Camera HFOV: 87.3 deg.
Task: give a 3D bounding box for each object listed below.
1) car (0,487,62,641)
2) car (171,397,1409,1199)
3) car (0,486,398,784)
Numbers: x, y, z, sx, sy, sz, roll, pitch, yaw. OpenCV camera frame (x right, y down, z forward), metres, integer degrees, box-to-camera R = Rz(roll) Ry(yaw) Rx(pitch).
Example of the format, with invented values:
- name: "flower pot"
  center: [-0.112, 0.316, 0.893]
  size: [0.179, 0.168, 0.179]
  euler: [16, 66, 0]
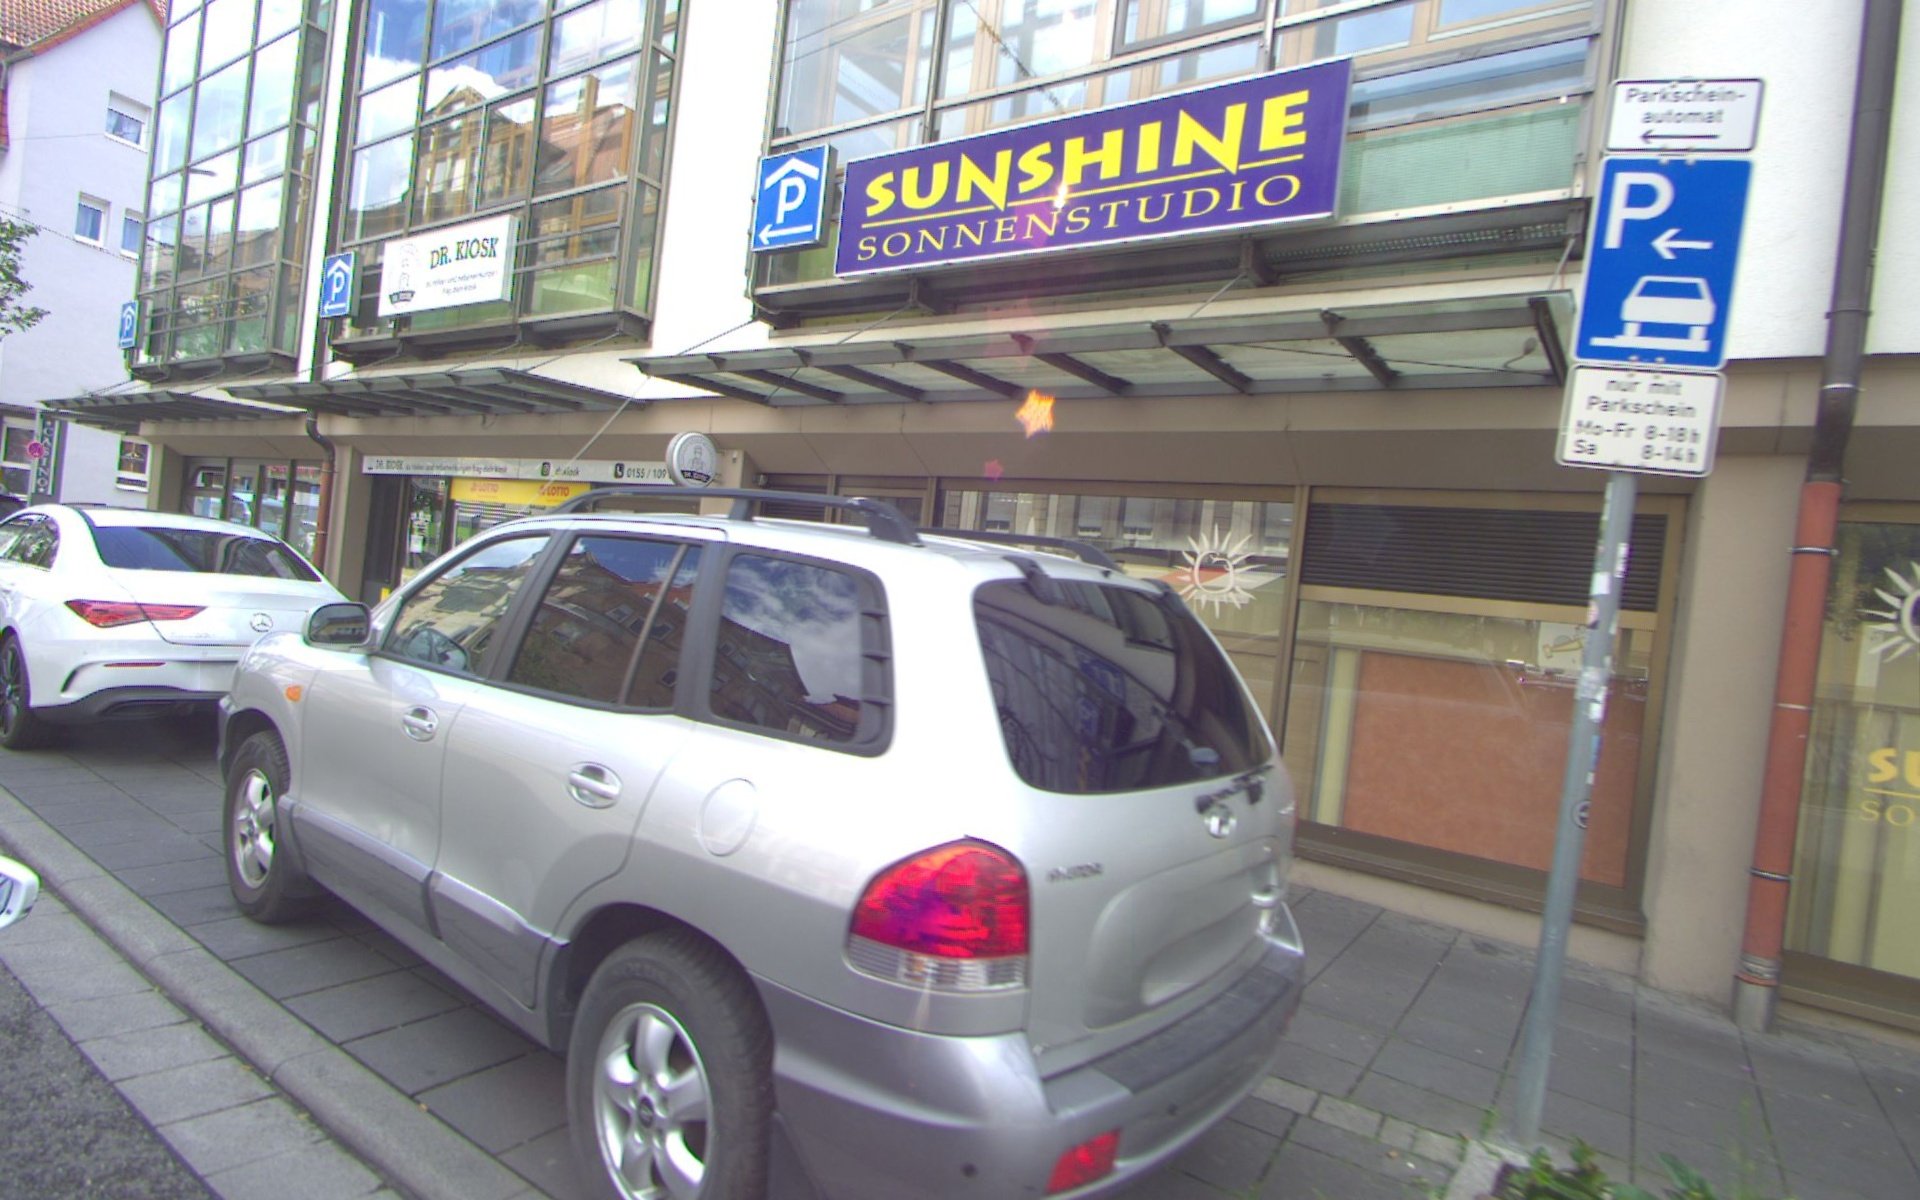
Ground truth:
- name: "car"
  center: [-11.123, -0.586, 10.568]
  size: [4.109, 1.451, 1.606]
  euler: [7, 0, 36]
- name: "car"
  center: [-0.970, 0.459, 3.510]
  size: [4.171, 1.752, 1.823]
  euler: [7, 1, 39]
- name: "car"
  center: [-5.808, 0.053, 7.011]
  size: [4.173, 1.452, 1.620]
  euler: [7, 2, 36]
